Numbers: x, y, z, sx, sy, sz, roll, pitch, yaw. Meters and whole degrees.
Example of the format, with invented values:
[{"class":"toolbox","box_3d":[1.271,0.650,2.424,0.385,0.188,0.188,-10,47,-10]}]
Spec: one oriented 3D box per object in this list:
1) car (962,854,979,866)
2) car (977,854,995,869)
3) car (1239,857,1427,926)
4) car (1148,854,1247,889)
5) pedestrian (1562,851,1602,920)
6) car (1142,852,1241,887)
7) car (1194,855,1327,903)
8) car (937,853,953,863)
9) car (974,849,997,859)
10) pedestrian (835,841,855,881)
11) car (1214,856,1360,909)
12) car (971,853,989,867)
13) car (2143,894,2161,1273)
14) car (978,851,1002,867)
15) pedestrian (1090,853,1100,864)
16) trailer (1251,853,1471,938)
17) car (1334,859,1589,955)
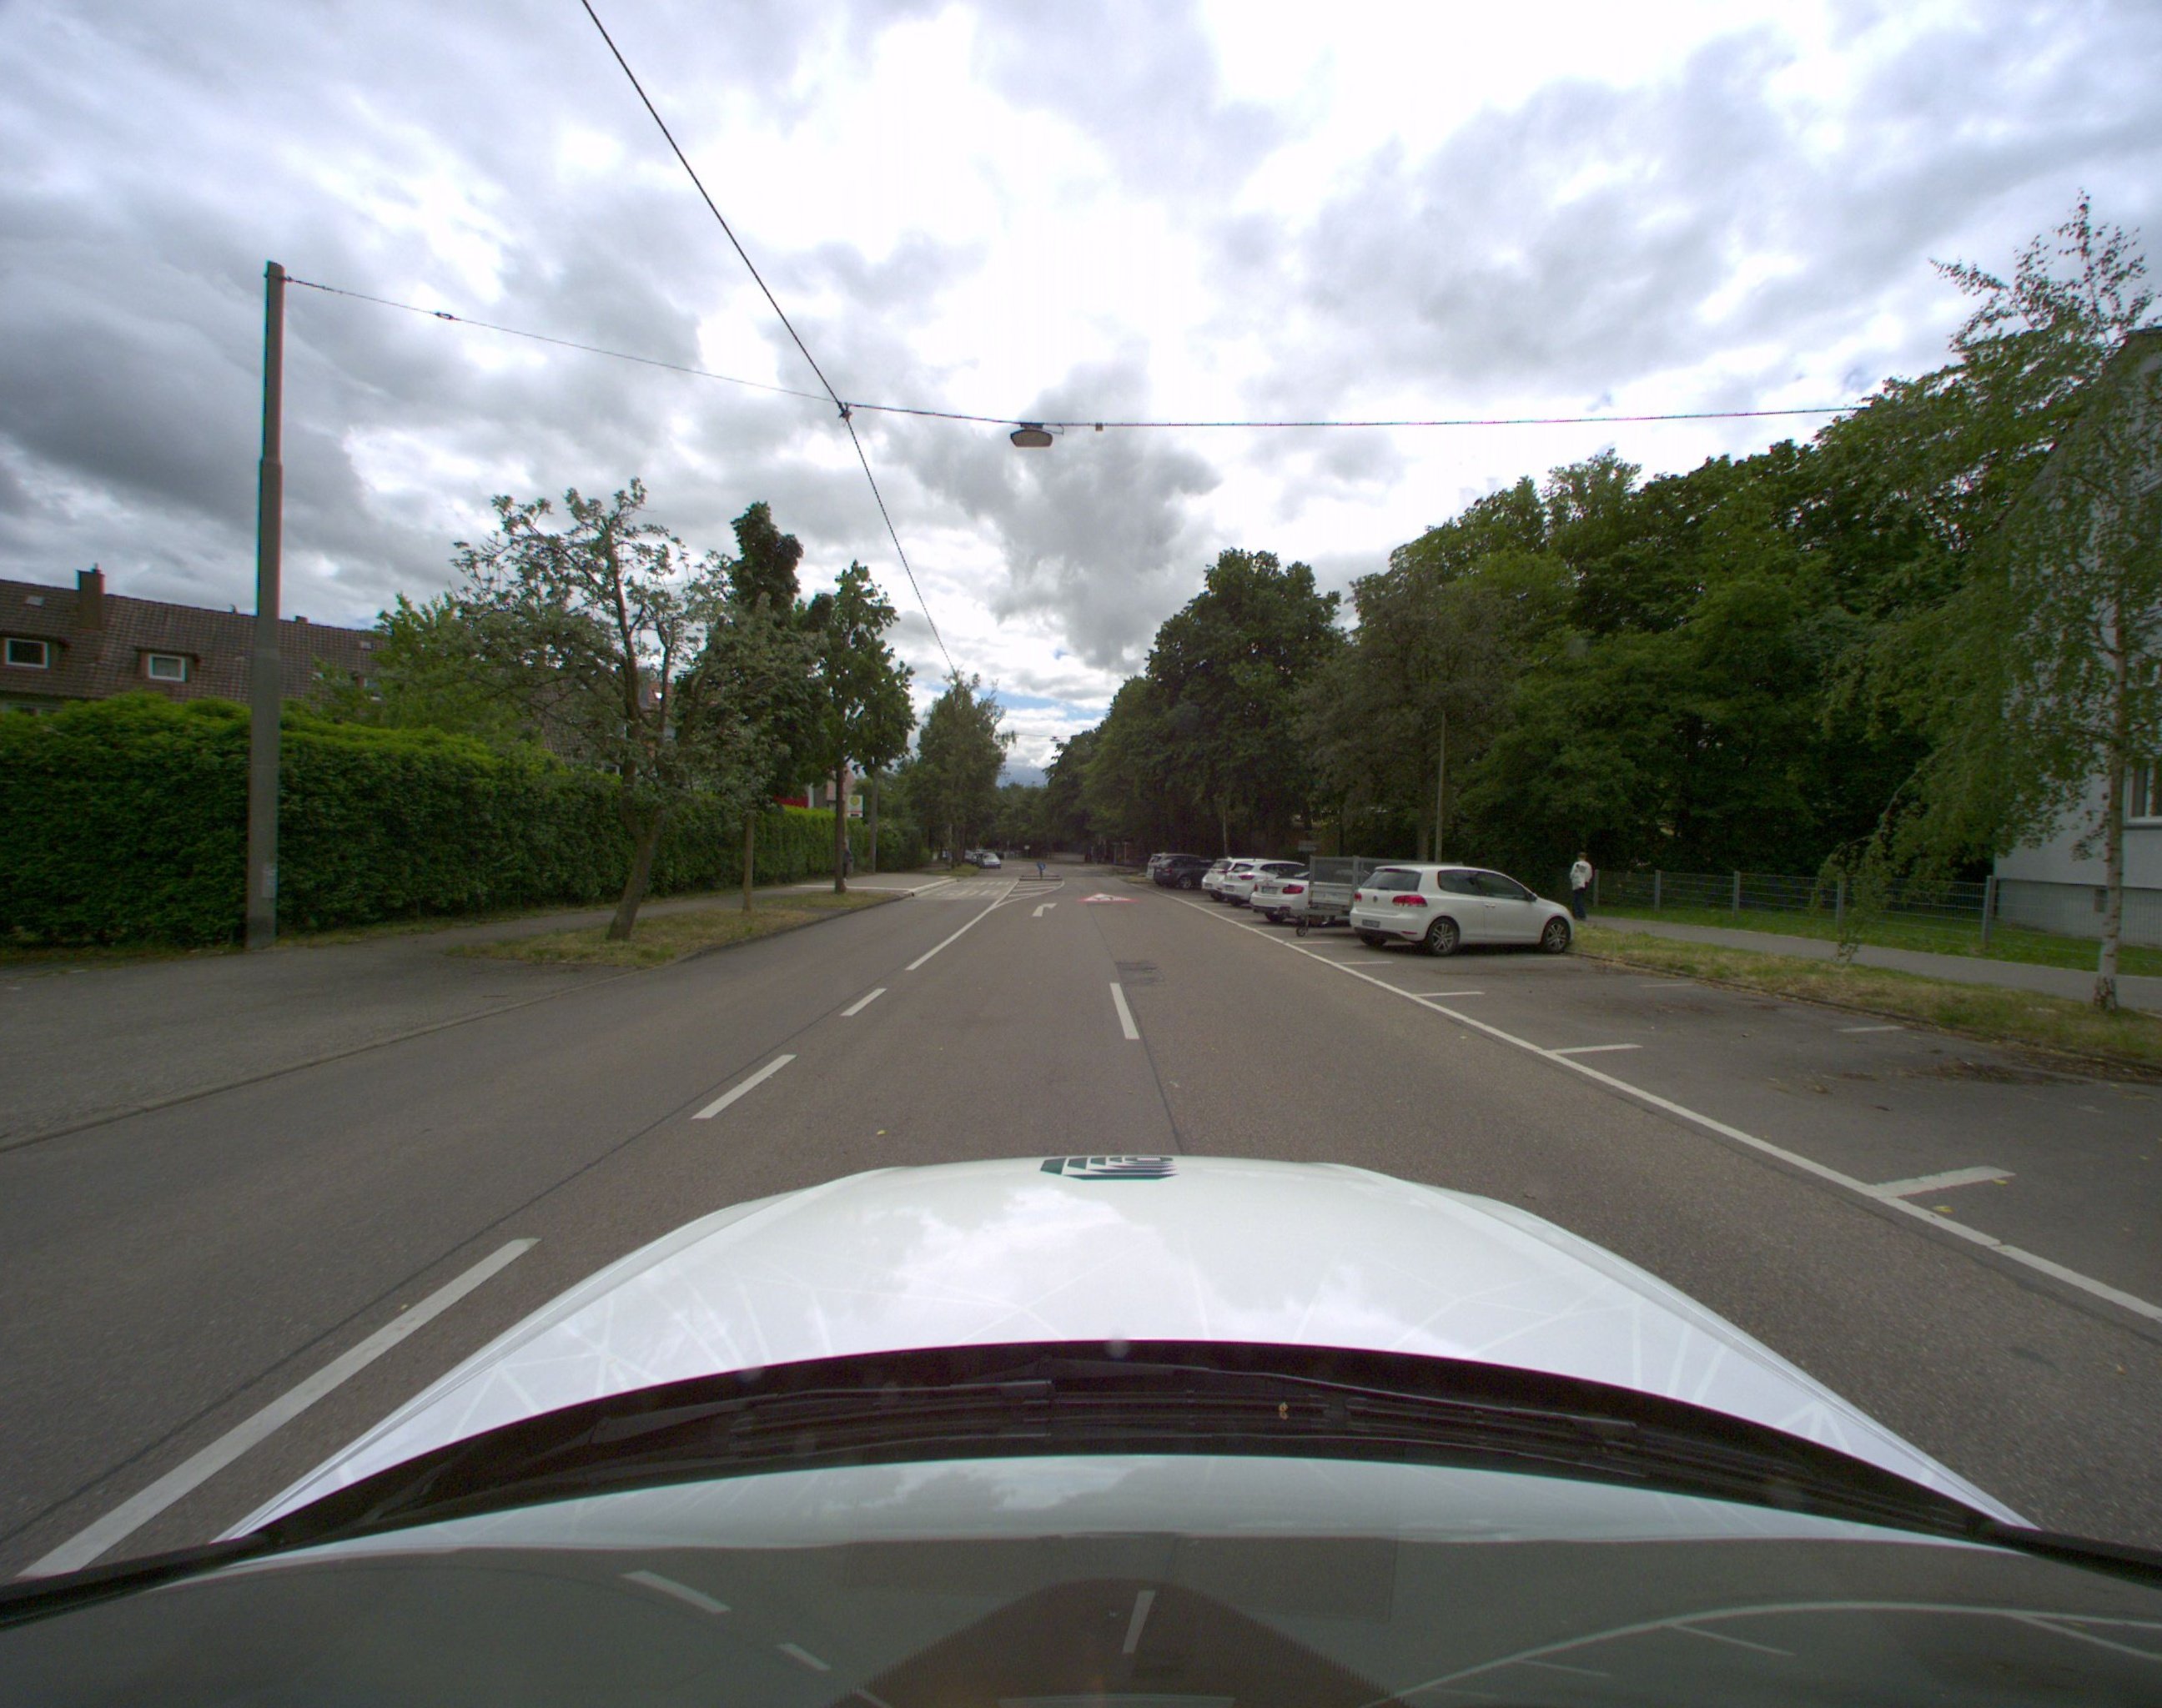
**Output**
[{"class":"car","box_3d":[-14.766,0.746,108.531,1.869,1.538,4.206,0,0,-14]},{"class":"car","box_3d":[-10.013,0.740,85.965,1.735,1.538,4.177,-1,0,-8]},{"class":"car","box_3d":[5.911,0.861,19.121,4.005,1.464,1.836,2,-1,-24]},{"class":"car","box_3d":[5.328,0.811,37.399,4.138,1.464,1.790,2,-1,-14]},{"class":"pedestrian","box_3d":[12.281,0.756,19.992,0.686,1.644,0.782,1,0,19]},{"class":"car","box_3d":[5.440,0.758,40.193,4.471,1.585,1.899,2,-1,-12]},{"class":"car","box_3d":[6.033,0.847,27.516,3.996,1.464,1.855,2,-1,-17]},{"class":"car","box_3d":[-22.336,0.600,133.822,1.811,1.563,4.237,-3,1,-21]},{"class":"car","box_3d":[-17.896,0.000,151.969,3.851,1.720,1.856,3,-2,-42]},{"class":"pedestrian","box_3d":[-10.229,0.306,35.321,0.691,1.711,0.776,1,0,-9]},{"class":"car","box_3d":[6.271,0.853,24.870,3.998,1.464,1.785,2,-1,-19]},{"class":"car","box_3d":[-12.111,0.724,97.512,1.736,1.578,4.125,-1,0,-11]},{"class":"car","box_3d":[6.197,0.902,3.035,3.857,1.434,1.703,2,-3,-21]},{"class":"car","box_3d":[-8.987,0.467,79.853,1.738,1.416,4.450,-1,0,-14]},{"class":"pedestrian","box_3d":[1.627,0.513,95.111,1.065,1.182,0.577,0,0,-14]},{"class":"trailer","box_3d":[5.597,0.785,16.329,3.997,1.552,1.649,1,0,-18]},{"class":"car","box_3d":[6.632,0.889,14.227,4.002,1.464,1.778,2,-1,-22]}]
